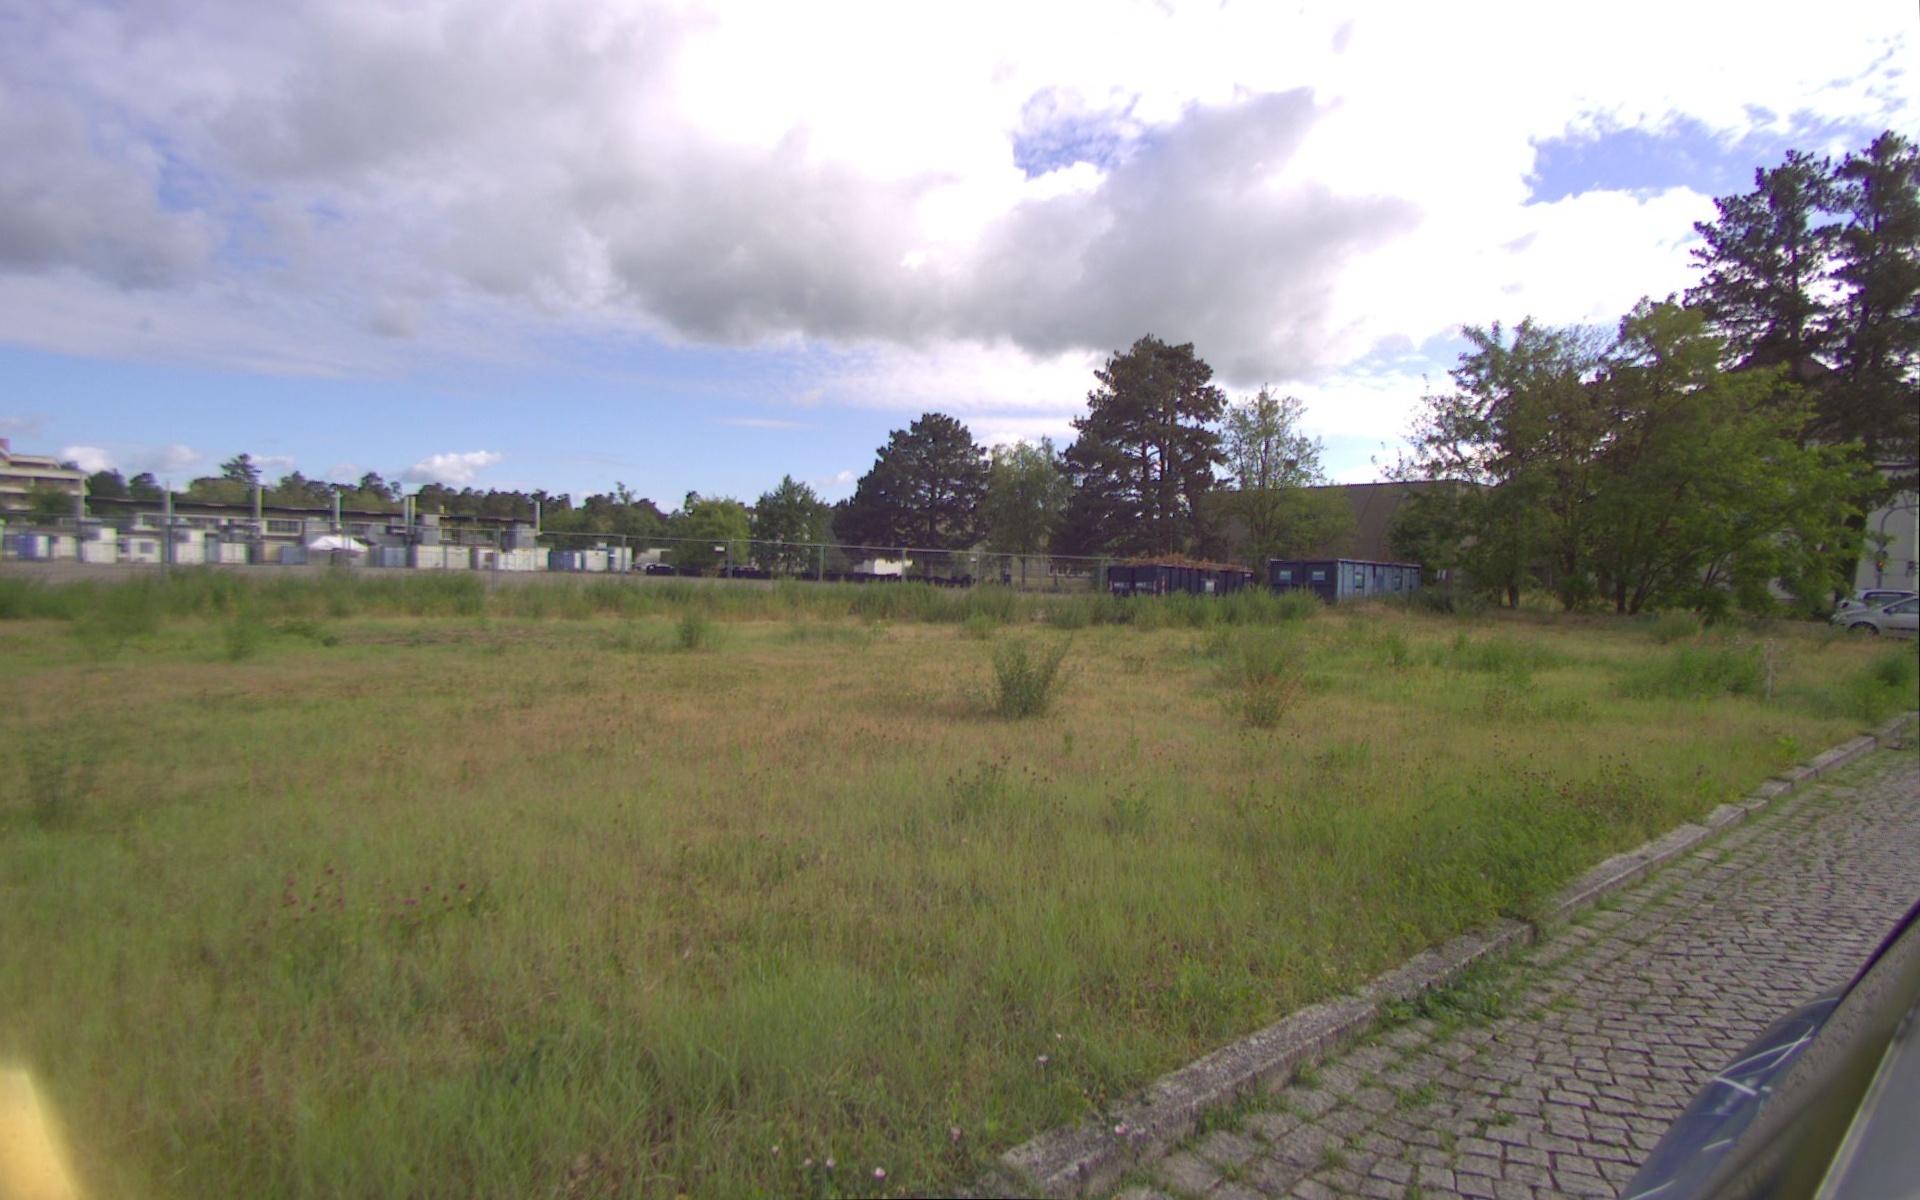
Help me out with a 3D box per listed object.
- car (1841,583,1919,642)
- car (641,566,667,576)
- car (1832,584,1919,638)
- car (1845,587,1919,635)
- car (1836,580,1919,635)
[{"bbox_3d":[27.014,0.430,27.977,1.713,1.497,3.779,1,4,-43],"label":"car"},{"bbox_3d":[-54.739,-5.224,180.995,4.007,1.594,1.785,0,2,-38],"label":"car"},{"bbox_3d":[28.854,0.417,29.917,1.765,1.423,4.376,1,4,-41],"label":"car"},{"bbox_3d":[32.542,0.453,33.570,1.796,1.442,4.558,-1,5,-43],"label":"car"},{"bbox_3d":[30.622,0.303,31.920,1.797,1.593,4.334,-1,5,-45],"label":"car"}]
